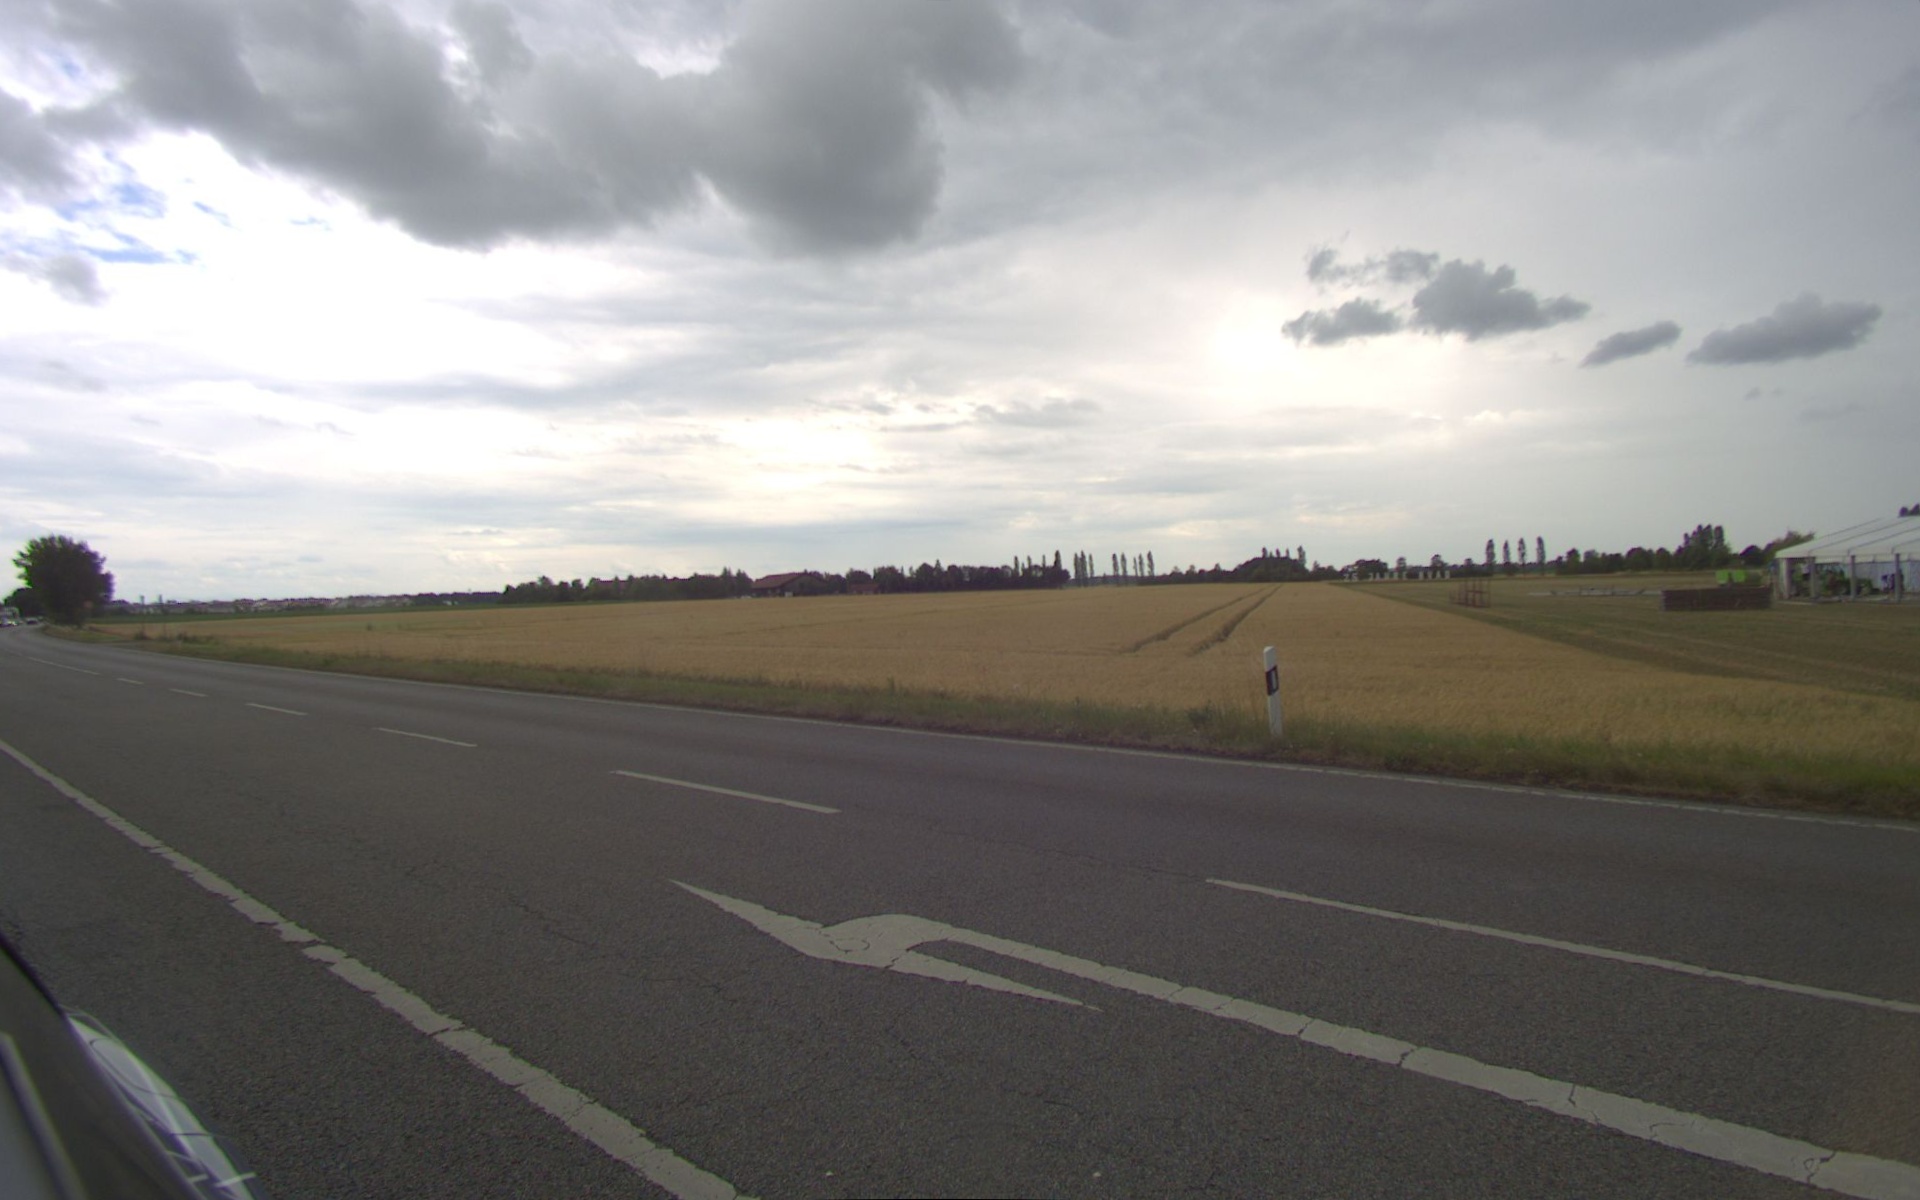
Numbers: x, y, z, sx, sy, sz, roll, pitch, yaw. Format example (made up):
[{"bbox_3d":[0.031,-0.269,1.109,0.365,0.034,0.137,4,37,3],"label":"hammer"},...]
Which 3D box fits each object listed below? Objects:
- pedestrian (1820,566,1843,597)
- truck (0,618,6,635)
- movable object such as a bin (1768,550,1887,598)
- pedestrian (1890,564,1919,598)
[{"bbox_3d":[57.939,-1.254,67.322,0.800,2.029,1.019,-1,0,20],"label":"pedestrian"},{"bbox_3d":[-167.161,4.613,175.230,2.285,2.786,7.686,-2,0,-40],"label":"truck"},{"bbox_3d":[63.410,-1.914,74.277,4.127,3.201,7.533,-1,1,20],"label":"movable object such as a bin"},{"bbox_3d":[56.383,-1.127,60.392,0.793,2.029,1.029,-1,0,-22],"label":"pedestrian"}]
